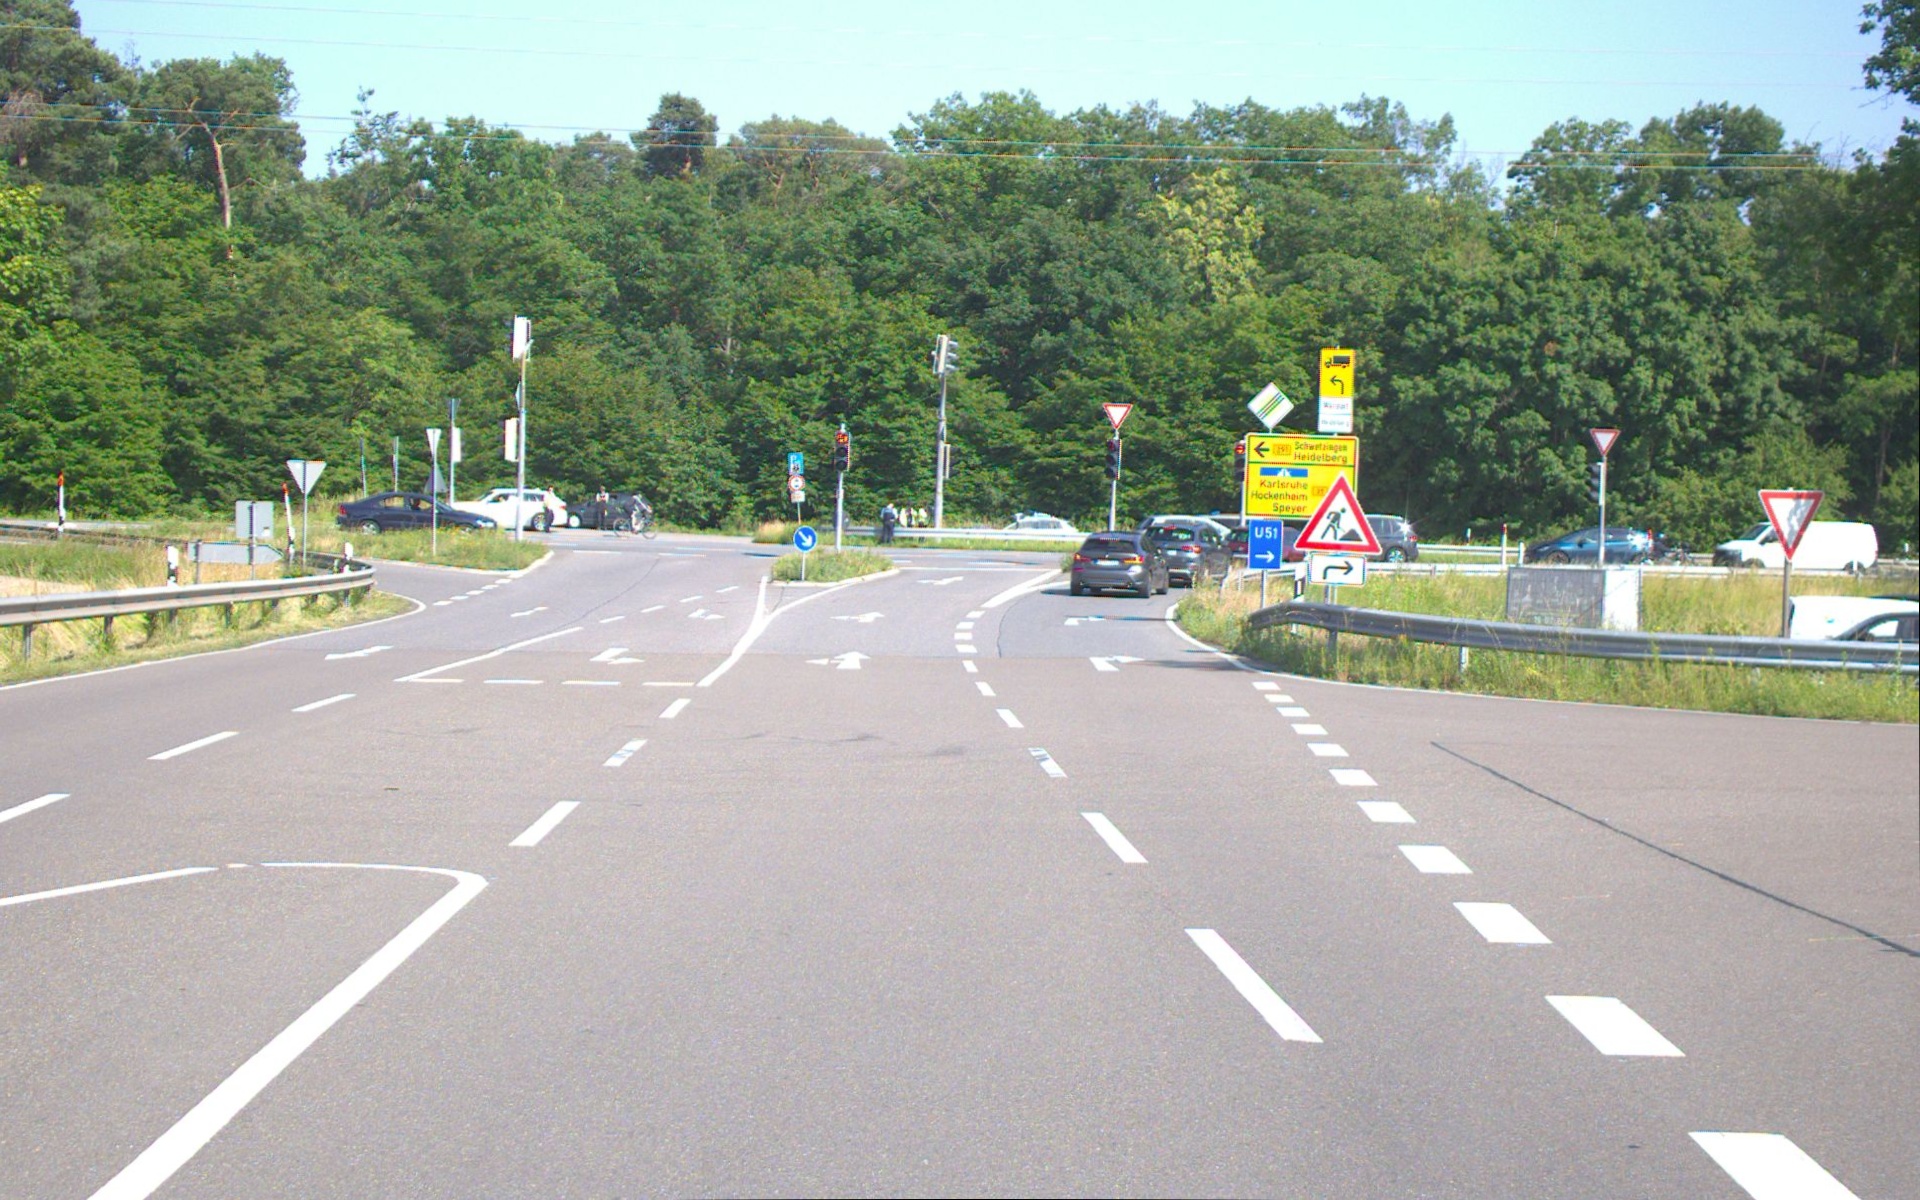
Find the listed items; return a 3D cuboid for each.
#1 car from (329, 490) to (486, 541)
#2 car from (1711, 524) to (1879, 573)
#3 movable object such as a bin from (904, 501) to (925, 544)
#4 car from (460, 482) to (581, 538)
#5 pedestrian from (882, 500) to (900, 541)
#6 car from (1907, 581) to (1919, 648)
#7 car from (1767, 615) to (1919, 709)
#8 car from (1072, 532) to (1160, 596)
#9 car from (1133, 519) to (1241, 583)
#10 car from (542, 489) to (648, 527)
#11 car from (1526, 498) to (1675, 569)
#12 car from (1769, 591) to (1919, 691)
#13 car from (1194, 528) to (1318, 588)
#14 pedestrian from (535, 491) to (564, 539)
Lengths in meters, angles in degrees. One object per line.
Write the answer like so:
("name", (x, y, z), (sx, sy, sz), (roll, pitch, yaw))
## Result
("car", (-15.795, -2.417, 98.513), (4.363, 1.454, 2.001), (0, 1, -7))
("car", (26.912, -1.679, 110.857), (4.880, 1.546, 2.001), (0, 1, -7))
("movable object such as a bin", (-1.554, -2.641, 117.119), (0.602, 1.483, 0.732), (0, 1, 7))
("car", (-15.854, -3.238, 124.036), (3.986, 2.007, 1.796), (-1, 1, -22))
("pedestrian", (-2.336, -2.706, 116.546), (0.523, 1.386, 0.514), (0, 1, 10))
("car", (25.626, 0.498, 84.614), (3.995, 1.614, 1.888), (5, 2, 34))
("car", (17.692, 1.185, 65.602), (4.416, 1.662, 1.901), (1, 2, 12))
("car", (3.592, -0.840, 78.518), (1.800, 1.393, 3.999), (0, 1, 6))
("car", (5.692, -1.236, 85.735), (1.801, 1.495, 3.997), (2, 1, 16))
("car", (-13.900, -3.492, 130.898), (3.986, 1.417, 1.796), (0, 1, -7))
("car", (19.147, -1.999, 102.811), (3.986, 2.006, 1.801), (1, 2, -6))
("car", (18.429, 0.843, 68.517), (4.357, 1.777, 1.901), (3, 2, 12))
("car", (7.882, -1.120, 91.305), (1.802, 1.495, 3.994), (3, 2, 28))
("pedestrian", (-14.663, -3.045, 122.801), (0.757, 1.715, 0.679), (0, 2, -42))
